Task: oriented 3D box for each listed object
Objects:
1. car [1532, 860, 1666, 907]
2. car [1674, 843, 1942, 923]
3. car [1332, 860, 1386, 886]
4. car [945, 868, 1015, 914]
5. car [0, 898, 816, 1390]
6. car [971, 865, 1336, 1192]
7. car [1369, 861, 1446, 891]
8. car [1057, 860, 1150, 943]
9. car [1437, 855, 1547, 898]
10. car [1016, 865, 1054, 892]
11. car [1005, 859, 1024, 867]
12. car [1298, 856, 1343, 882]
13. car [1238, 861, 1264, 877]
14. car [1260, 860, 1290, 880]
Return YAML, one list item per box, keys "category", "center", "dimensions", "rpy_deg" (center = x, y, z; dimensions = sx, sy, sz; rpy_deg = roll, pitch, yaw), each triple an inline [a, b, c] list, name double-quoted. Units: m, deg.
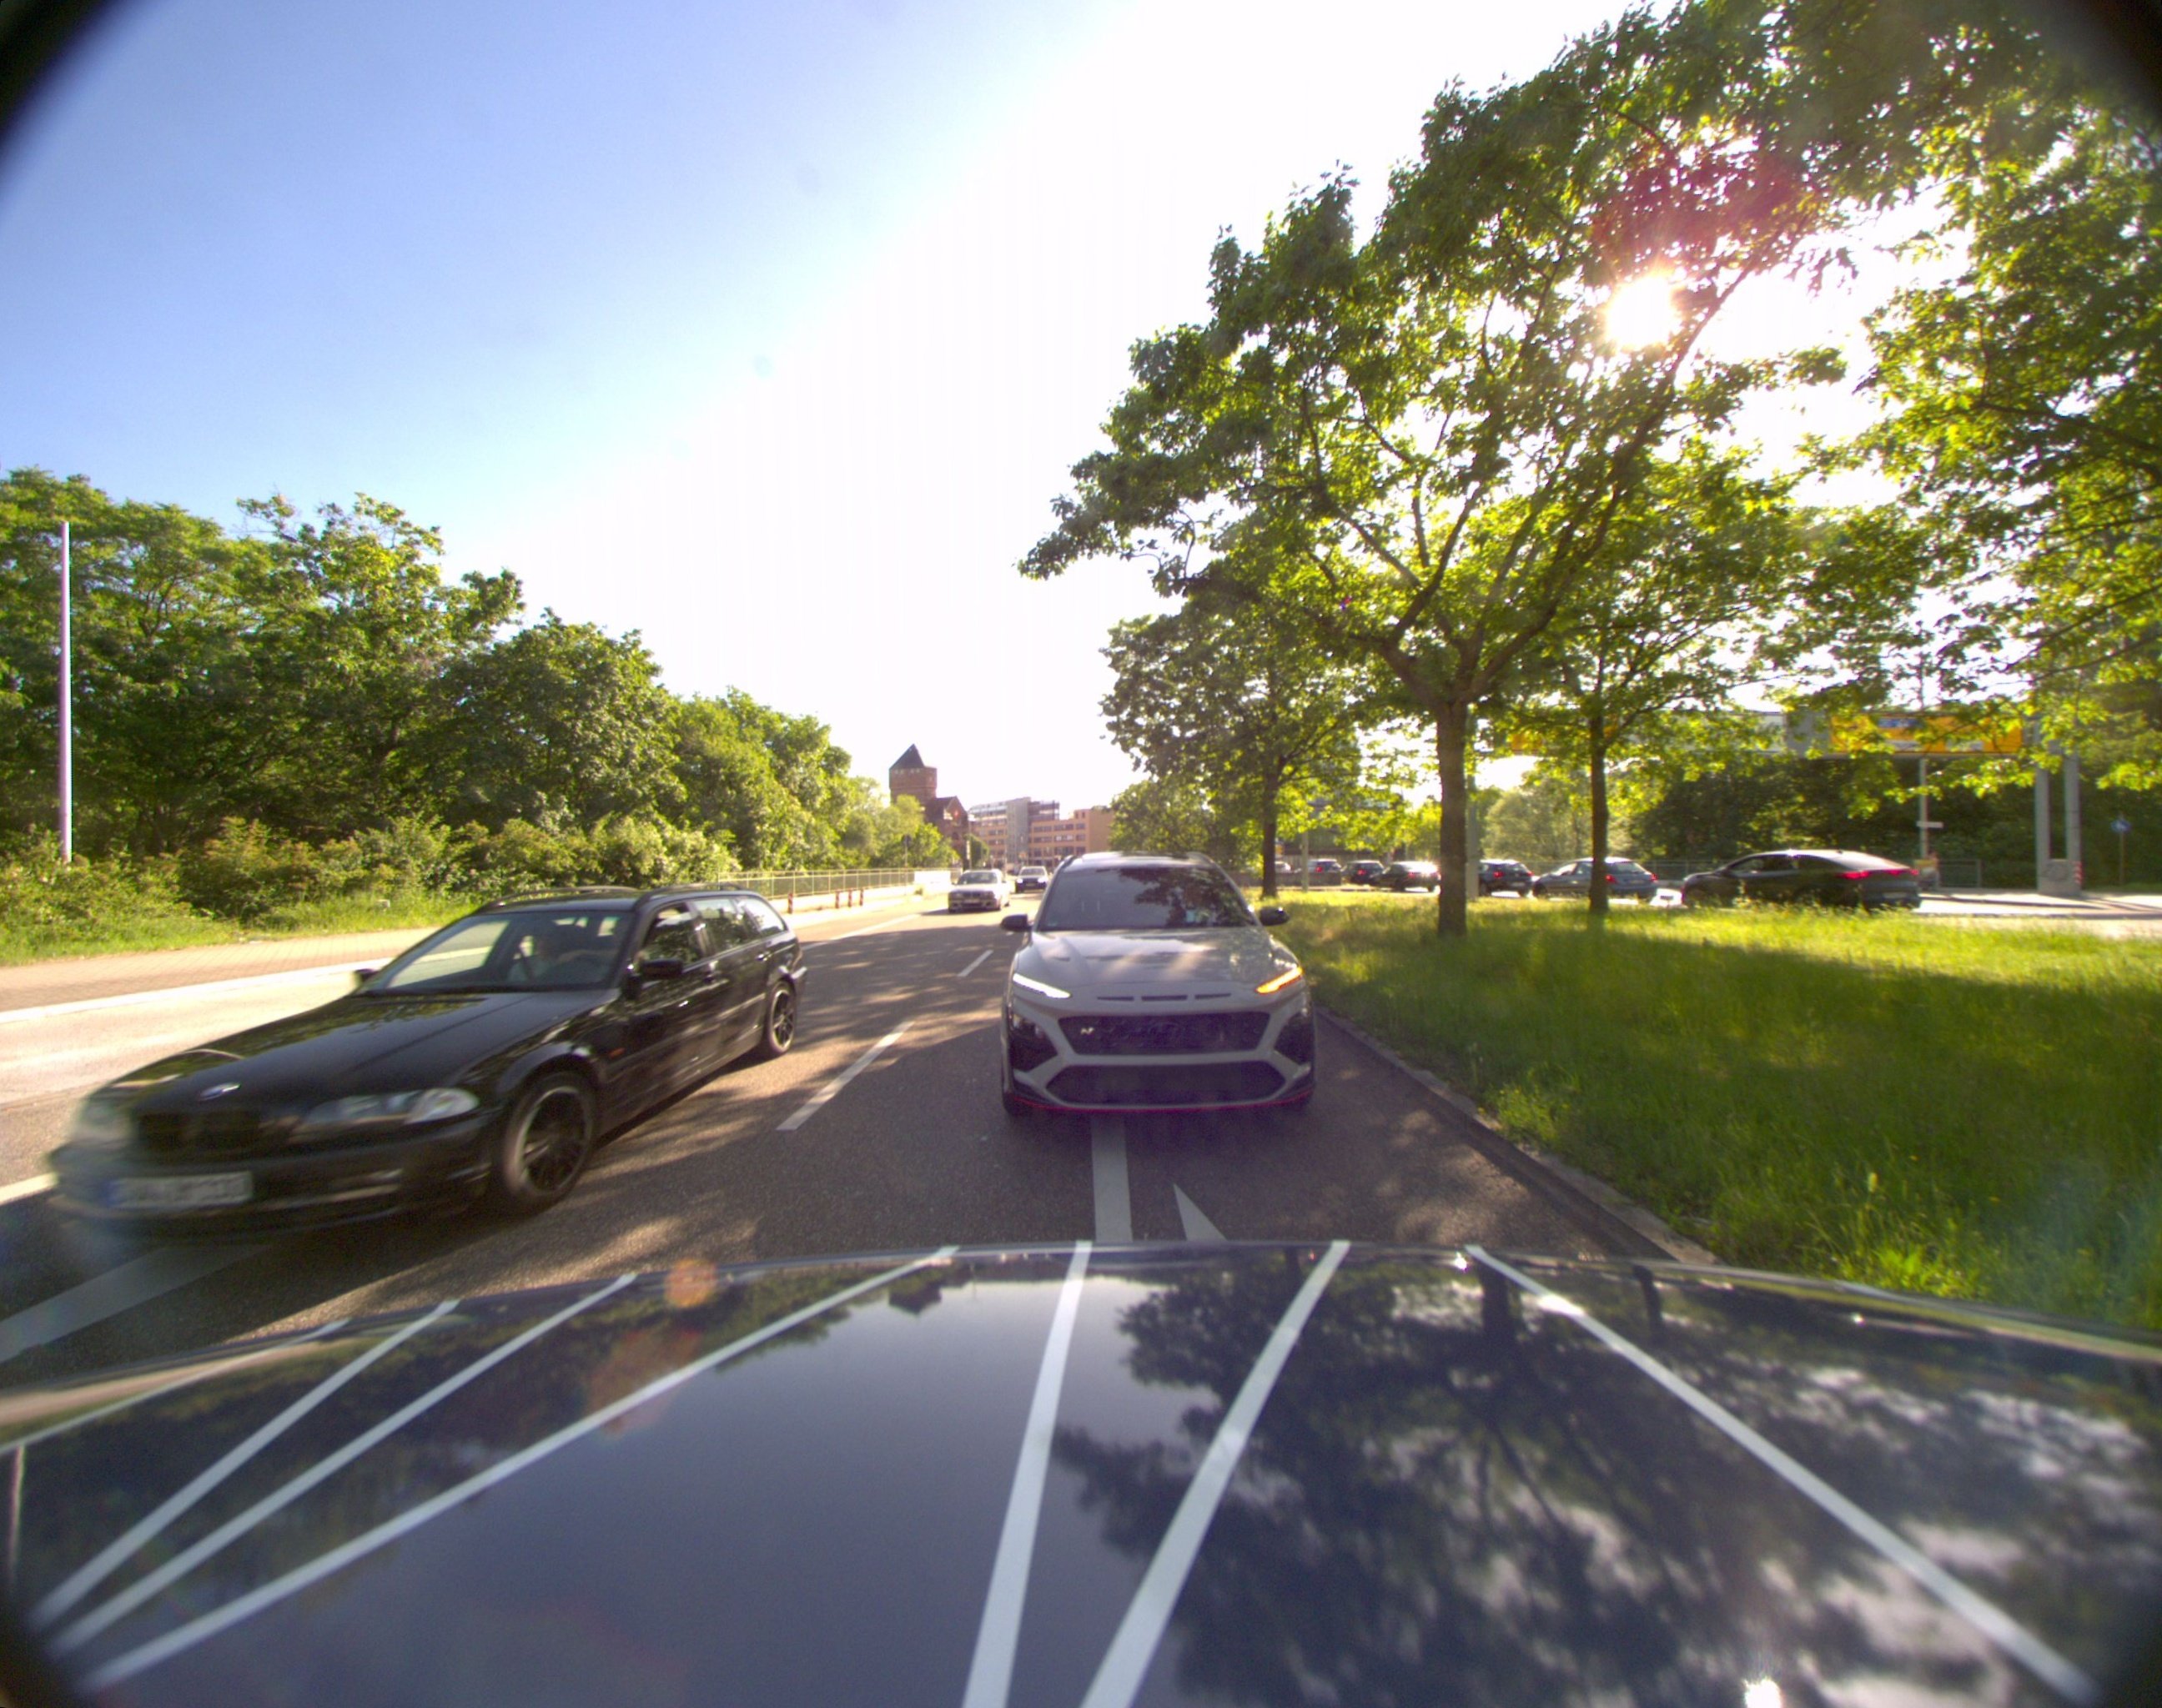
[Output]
- category: "car"
  center: [16.381, 0.881, 24.257]
  dimensions: [1.561, 1.355, 3.608]
  rpy_deg: [-1, -1, -6]
- category: "car"
  center: [16.778, 0.605, 17.920]
  dimensions: [1.832, 1.638, 4.458]
  rpy_deg: [-1, 0, -5]
- category: "car"
  center: [15.142, 1.032, 41.483]
  dimensions: [1.481, 1.331, 3.202]
  rpy_deg: [-1, -1, -6]
- category: "car"
  center: [-3.390, 1.214, 26.112]
  dimensions: [1.785, 1.411, 4.001]
  rpy_deg: [-1, -1, 1]
- category: "car"
  center: [-3.323, 1.106, 4.706]
  dimensions: [1.776, 1.395, 4.318]
  rpy_deg: [-1, 0, 1]
- category: "car"
  center: [0.381, 0.882, 5.691]
  dimensions: [1.752, 1.523, 3.988]
  rpy_deg: [-1, 0, 1]
- category: "car"
  center: [15.466, 0.996, 36.227]
  dimensions: [1.623, 1.305, 4.066]
  rpy_deg: [-1, 0, -6]
- category: "car"
  center: [0.445, 0.897, 16.046]
  dimensions: [1.677, 1.463, 4.151]
  rpy_deg: [-1, 0, 1]
- category: "car"
  center: [16.179, 0.845, 30.154]
  dimensions: [1.875, 1.541, 4.221]
  rpy_deg: [-1, 0, -4]
- category: "car"
  center: [-2.517, 1.336, 42.027]
  dimensions: [1.785, 1.411, 4.001]
  rpy_deg: [-1, -1, 1]
- category: "car"
  center: [-17.222, 2.458, 196.588]
  dimensions: [2.177, 2.001, 5.400]
  rpy_deg: [-1, 0, -36]
- category: "car"
  center: [14.957, 0.992, 47.580]
  dimensions: [1.450, 1.549, 3.202]
  rpy_deg: [-1, -2, -6]
- category: "car"
  center: [13.933, 1.279, 62.331]
  dimensions: [1.199, 1.252, 2.768]
  rpy_deg: [-1, -2, -6]
- category: "car"
  center: [14.310, 1.206, 56.140]
  dimensions: [1.228, 1.331, 2.882]
  rpy_deg: [-1, -3, -6]
